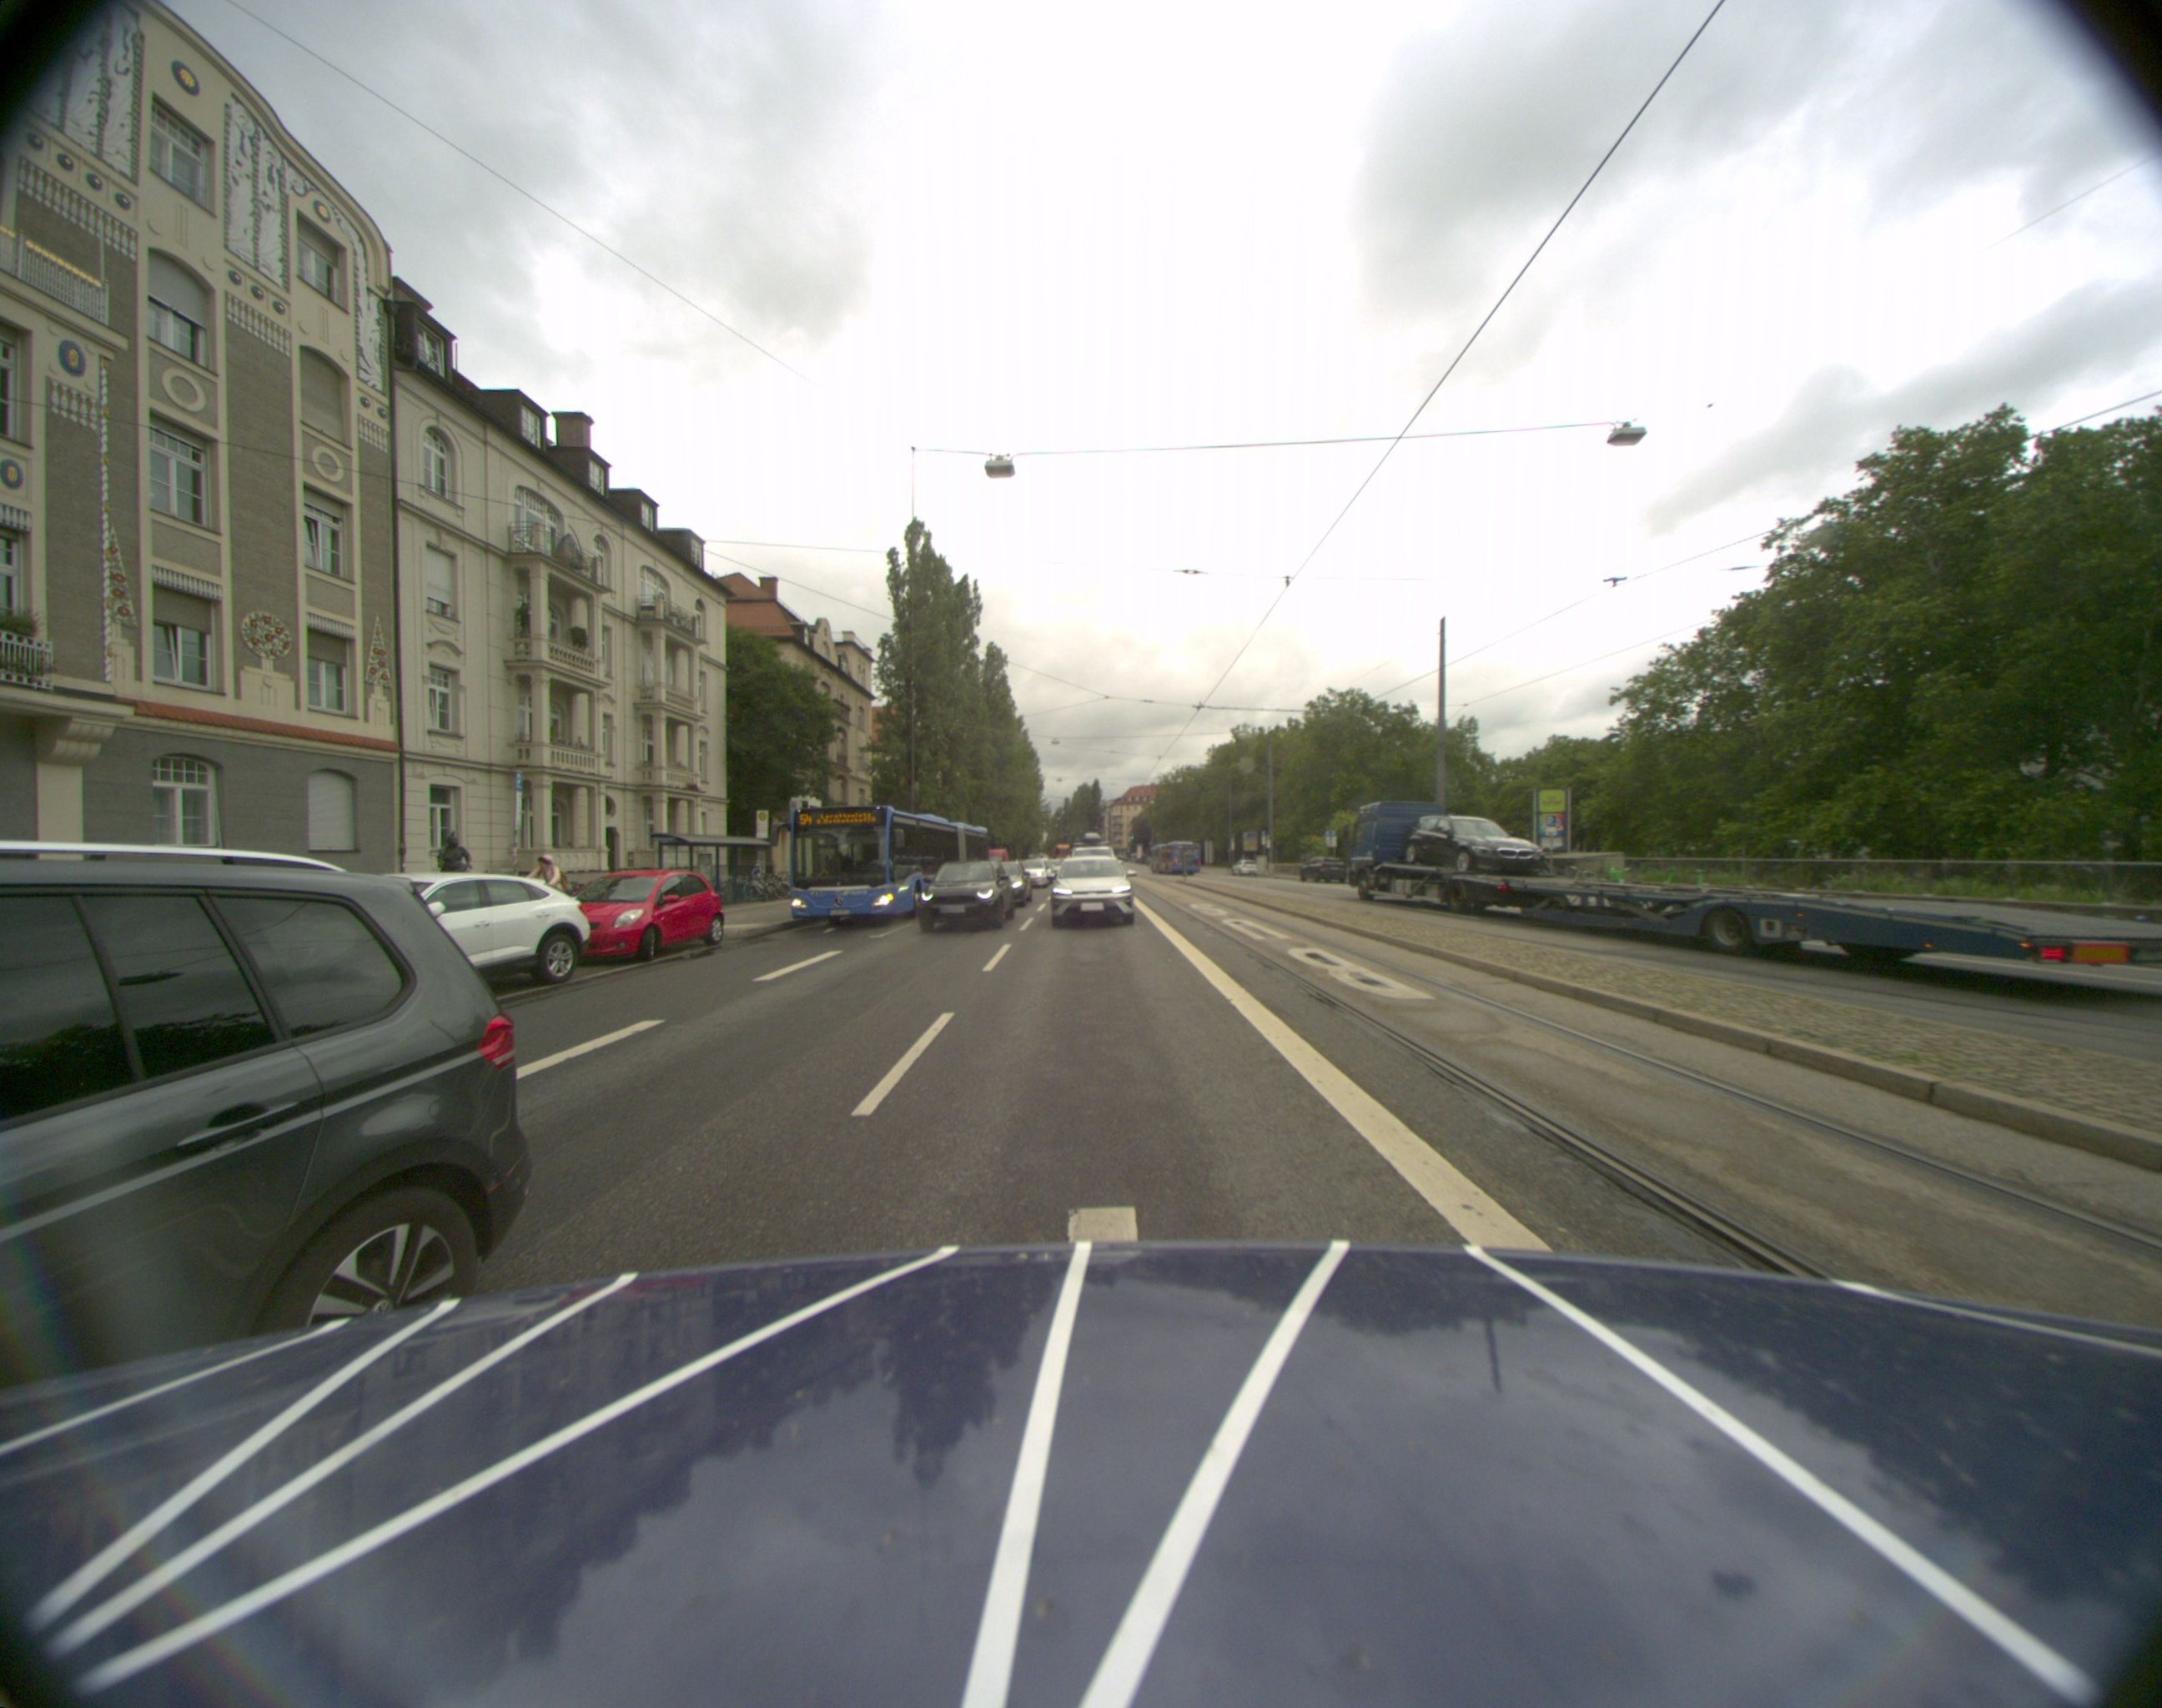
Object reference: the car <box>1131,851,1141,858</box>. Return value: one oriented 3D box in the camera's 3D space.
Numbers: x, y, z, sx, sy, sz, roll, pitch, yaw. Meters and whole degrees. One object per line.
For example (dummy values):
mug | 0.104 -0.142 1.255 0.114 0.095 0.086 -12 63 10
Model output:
car | 12.498 0.062 172.613 1.809 1.674 4.000 0 0 0

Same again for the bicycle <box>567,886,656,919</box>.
bicycle | -14.703 1.512 23.846 2.323 0.916 0.640 -2 1 -2

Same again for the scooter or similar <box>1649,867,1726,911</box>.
scooter or similar | 16.633 0.958 20.850 1.692 1.165 0.562 0 1 -2

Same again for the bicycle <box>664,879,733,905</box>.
bicycle | -14.892 1.480 29.587 2.323 0.916 0.600 -2 1 -2

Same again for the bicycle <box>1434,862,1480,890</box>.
bicycle | 15.827 0.925 32.021 1.692 1.165 0.562 0 1 -2

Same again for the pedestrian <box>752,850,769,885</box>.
pedestrian | -17.448 0.735 41.369 0.609 1.885 0.673 0 1 3

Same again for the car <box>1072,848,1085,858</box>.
car | -0.525 -0.253 157.797 2.465 2.178 5.455 0 1 1

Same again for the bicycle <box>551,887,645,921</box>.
bicycle | -14.669 1.516 23.132 2.325 0.916 0.586 -2 1 -11

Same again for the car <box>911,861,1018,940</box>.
car | -2.577 0.988 17.736 1.780 1.495 3.970 -3 0 0

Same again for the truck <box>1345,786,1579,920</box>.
truck | 10.194 -0.037 21.518 2.572 3.069 7.689 1 0 -1

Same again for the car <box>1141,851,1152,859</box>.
car | 13.039 0.187 151.390 1.809 1.674 4.000 0 0 0

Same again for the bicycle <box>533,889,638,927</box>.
bicycle | -13.770 1.491 21.182 2.326 0.916 0.586 -2 1 -17

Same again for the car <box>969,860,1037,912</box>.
car | -2.495 0.989 25.128 1.704 1.425 4.244 -3 0 0

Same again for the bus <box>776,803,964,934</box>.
bus | -5.656 0.328 22.471 2.637 2.956 9.466 -2 0 1

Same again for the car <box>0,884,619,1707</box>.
car | -2.840 0.973 0.726 1.776 1.637 4.708 -1 1 2

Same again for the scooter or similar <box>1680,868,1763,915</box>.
scooter or similar | 16.565 0.969 19.667 1.692 1.165 0.562 0 1 -2

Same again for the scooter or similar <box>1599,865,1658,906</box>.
scooter or similar | 16.605 0.944 23.030 1.695 1.165 0.561 0 1 -18

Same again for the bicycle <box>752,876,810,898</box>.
bicycle | -13.385 1.469 33.903 2.323 0.916 0.600 -2 1 -2

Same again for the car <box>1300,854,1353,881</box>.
car | 15.127 0.786 47.119 1.998 1.561 4.101 0 0 0

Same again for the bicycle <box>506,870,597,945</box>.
bicycle | -10.065 0.980 14.510 0.424 1.281 1.778 0 1 2

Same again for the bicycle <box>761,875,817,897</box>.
bicycle | -13.366 1.461 34.809 2.323 0.916 0.600 -2 1 -2

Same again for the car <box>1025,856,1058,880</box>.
car | -2.293 0.803 44.568 1.704 1.379 3.632 1 0 0

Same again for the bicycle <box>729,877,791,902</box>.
bicycle | -13.486 1.487 31.957 2.323 0.916 0.600 -2 1 -2

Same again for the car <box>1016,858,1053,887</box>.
car | -2.344 0.919 39.104 1.704 1.360 3.632 0 0 0

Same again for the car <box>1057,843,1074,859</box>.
car | -2.781 -0.630 138.578 2.806 2.836 5.114 0 1 1

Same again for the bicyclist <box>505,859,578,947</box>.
bicyclist | -10.119 0.898 14.287 0.681 1.594 0.939 0 1 1

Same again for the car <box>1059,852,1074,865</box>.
car | -1.764 0.496 91.249 1.704 1.513 3.632 0 1 0

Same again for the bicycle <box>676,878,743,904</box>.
bicycle | -14.834 1.472 30.332 2.323 0.916 0.600 -2 1 -2

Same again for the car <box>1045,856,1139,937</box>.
car | 0.279 0.844 17.352 1.812 1.496 4.952 -2 0 2

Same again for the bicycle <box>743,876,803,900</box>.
bicycle | -13.430 1.476 33.167 2.323 0.916 0.600 -2 1 -2

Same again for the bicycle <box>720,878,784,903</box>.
bicycle | -13.517 1.493 31.236 2.323 0.916 0.600 -2 1 -2

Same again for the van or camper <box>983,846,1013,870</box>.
van or camper | -7.369 0.324 68.155 2.124 2.086 5.513 0 0 0

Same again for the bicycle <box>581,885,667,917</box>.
bicycle | -14.761 1.509 24.555 2.323 0.916 0.640 -2 1 -2

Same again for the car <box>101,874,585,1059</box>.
car | -8.062 1.085 8.943 1.730 1.567 3.967 0 0 2

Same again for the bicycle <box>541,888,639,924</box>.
bicycle | -14.435 1.511 22.388 2.326 0.916 0.586 -2 1 -17

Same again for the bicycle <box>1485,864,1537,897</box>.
bicycle | 15.734 0.947 27.823 1.693 1.165 0.561 0 1 -9

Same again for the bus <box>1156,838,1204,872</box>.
bus | 9.273 0.063 72.888 2.632 2.949 13.413 1 0 -1

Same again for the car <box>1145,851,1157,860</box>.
car | 13.058 0.258 141.333 1.809 1.674 4.000 0 0 0

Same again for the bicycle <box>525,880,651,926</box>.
bicycle | -14.080 1.387 21.797 2.923 1.141 0.639 -2 1 -17

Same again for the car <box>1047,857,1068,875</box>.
car | -2.035 1.021 66.704 1.704 1.513 3.632 0 0 0

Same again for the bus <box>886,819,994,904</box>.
bus | -5.531 0.256 31.491 2.637 2.956 8.533 -2 0 1

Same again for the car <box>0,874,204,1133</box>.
car | -8.107 1.035 4.018 1.737 1.651 4.501 2 1 0

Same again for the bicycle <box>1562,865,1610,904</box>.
bicycle | 16.037 0.960 24.118 1.696 1.165 0.560 -1 1 -29

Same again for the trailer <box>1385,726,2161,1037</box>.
trailer | 10.353 0.217 14.139 2.617 2.667 15.635 1 0 -2

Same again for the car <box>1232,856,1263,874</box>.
car | 14.908 0.978 68.198 1.893 1.521 4.000 0 0 1

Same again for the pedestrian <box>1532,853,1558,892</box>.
pedestrian | 18.529 0.735 30.346 0.632 1.549 0.589 0 1 0

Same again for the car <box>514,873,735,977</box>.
car | -7.946 1.150 13.674 1.730 1.500 3.742 0 0 0

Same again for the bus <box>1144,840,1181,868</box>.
bus | 9.089 -0.023 86.032 2.632 2.949 12.843 1 0 -1

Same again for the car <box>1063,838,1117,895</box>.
car | 0.338 0.439 30.068 1.998 2.100 4.000 0 1 0

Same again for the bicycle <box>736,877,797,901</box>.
bicycle | -13.450 1.481 32.548 2.323 0.916 0.600 -2 1 -2
